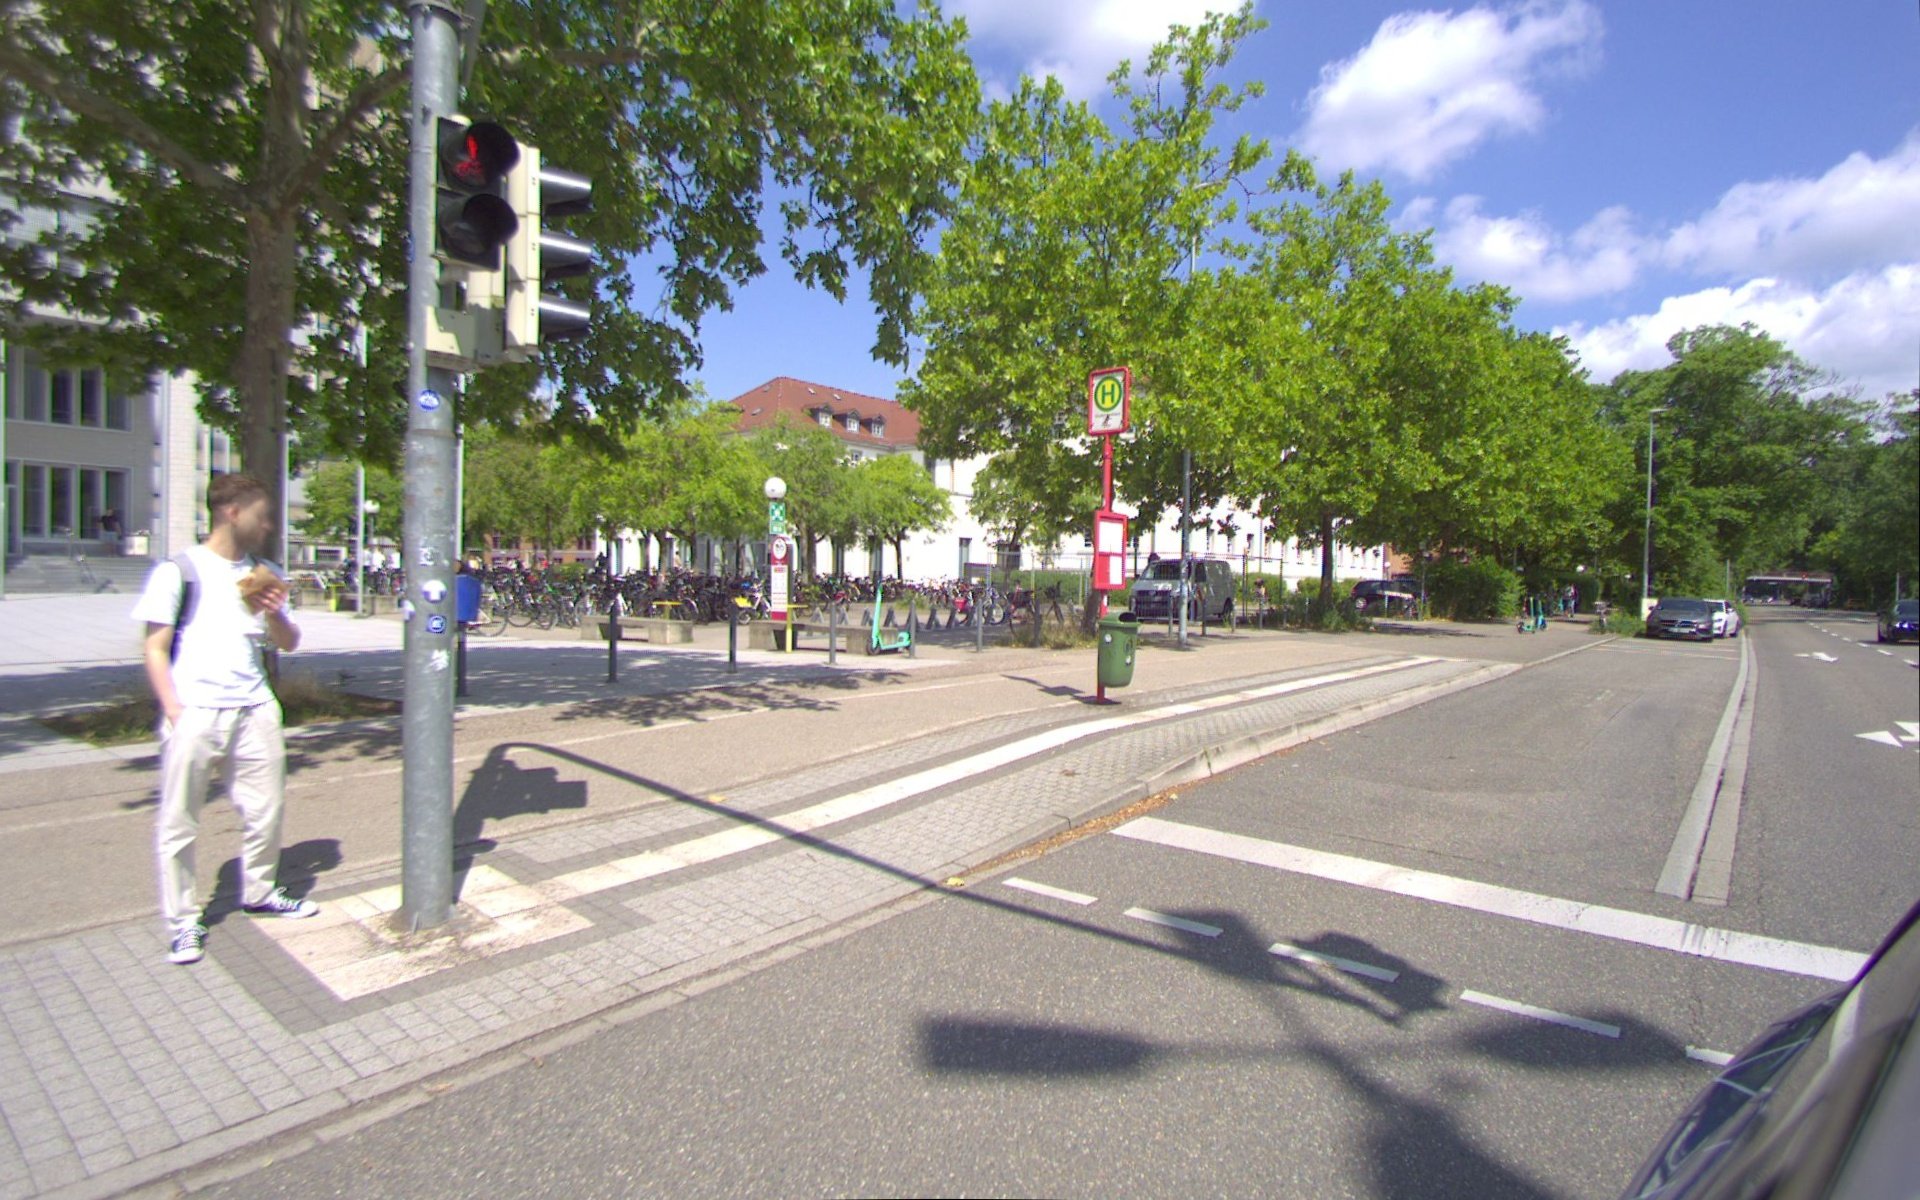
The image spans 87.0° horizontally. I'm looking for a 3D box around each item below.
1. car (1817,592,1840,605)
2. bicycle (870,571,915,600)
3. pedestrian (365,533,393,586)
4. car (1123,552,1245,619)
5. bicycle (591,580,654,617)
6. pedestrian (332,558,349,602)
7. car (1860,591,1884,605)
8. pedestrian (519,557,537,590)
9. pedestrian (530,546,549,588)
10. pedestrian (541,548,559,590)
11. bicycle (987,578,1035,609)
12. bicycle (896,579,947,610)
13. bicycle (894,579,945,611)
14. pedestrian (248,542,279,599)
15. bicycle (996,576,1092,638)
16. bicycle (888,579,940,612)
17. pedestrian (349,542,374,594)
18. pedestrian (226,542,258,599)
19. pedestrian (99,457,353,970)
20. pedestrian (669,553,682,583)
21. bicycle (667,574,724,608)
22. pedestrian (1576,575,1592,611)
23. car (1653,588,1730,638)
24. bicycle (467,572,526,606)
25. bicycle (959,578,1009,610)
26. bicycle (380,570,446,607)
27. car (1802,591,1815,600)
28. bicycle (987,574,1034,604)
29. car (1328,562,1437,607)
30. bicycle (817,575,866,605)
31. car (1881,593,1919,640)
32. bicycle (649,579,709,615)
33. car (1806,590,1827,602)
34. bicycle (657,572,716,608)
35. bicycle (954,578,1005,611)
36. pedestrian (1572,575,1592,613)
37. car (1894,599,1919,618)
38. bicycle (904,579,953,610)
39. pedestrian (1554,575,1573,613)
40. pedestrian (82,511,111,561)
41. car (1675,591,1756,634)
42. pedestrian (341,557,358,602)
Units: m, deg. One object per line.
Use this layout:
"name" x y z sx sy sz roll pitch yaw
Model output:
"car" 103.087 -0.209 120.142 1.893 1.530 3.768 0 0 44
"bicycle" -2.762 -0.588 41.287 1.738 1.113 0.602 -1 0 8
"pedestrian" -24.985 -1.724 43.523 0.844 2.257 0.630 -1 0 20
"car" 6.914 -0.446 30.842 1.892 1.888 4.879 1 1 35
"bicycle" -10.336 -0.046 31.021 1.738 1.113 0.602 -1 0 8
"pedestrian" -32.621 -1.049 53.301 0.702 2.257 0.634 -1 0 -33
"car" 104.725 -0.196 116.180 1.893 1.530 3.768 0 0 44
"pedestrian" -23.559 -1.449 55.190 0.623 1.800 0.715 -1 0 8
"pedestrian" -22.885 -1.778 55.083 0.623 2.257 0.715 -1 0 8
"pedestrian" -22.208 -1.668 54.872 0.623 2.257 0.715 -1 0 8
"bicycle" 1.887 -0.249 37.457 1.738 1.113 0.602 -1 0 8
"bicycle" -1.391 -0.199 36.741 1.738 1.113 0.602 -1 0 8
"bicycle" -1.431 -0.178 36.019 1.738 1.113 0.602 -1 0 8
"pedestrian" -22.130 -0.932 32.172 0.621 1.768 0.718 -1 0 -16
"bicycle" 1.735 0.119 20.671 1.996 1.198 0.798 -1 1 -41
"bicycle" -1.598 -0.169 35.181 1.738 1.113 0.602 -1 0 8
"pedestrian" -25.930 -1.379 43.859 0.704 2.257 0.633 -1 0 8
"pedestrian" -22.602 -0.924 31.863 0.621 1.768 0.718 -1 0 -16
"pedestrian" -2.884 0.385 3.990 0.591 1.822 0.604 4 2 30
"pedestrian" -16.431 -1.832 58.404 0.442 1.738 0.500 3 2 34
"bicycle" -8.771 -0.301 33.565 1.738 1.113 0.602 -1 0 8
"pedestrian" 31.526 -0.370 51.139 0.679 1.803 0.782 -1 0 31
"car" 25.026 0.432 34.553 1.854 1.497 4.872 4 2 38
"bicycle" -15.460 -0.365 33.751 1.738 1.113 0.602 -1 0 8
"bicycle" 0.860 -0.211 36.497 1.738 1.113 0.602 -1 0 8
"bicycle" -16.677 -0.352 30.856 1.738 1.113 0.602 -1 0 8
"car" 143.309 -0.758 170.956 1.750 1.530 3.773 -1 0 40
"bicycle" 1.929 -0.421 38.761 1.738 1.113 0.602 -1 0 8
"car" 17.997 -0.634 43.143 3.975 1.805 1.974 0 0 36
"bicycle" -4.533 -0.390 38.744 1.738 1.113 0.602 -1 0 8
"car" 31.072 0.518 32.563 4.120 1.433 1.827 0 1 -43
"bicycle" -8.940 -0.102 32.217 1.738 1.113 0.602 -1 0 8
"car" 115.574 -0.502 136.588 1.893 1.530 3.768 0 0 44
"bicycle" -8.889 -0.321 32.923 1.738 1.113 0.602 -1 0 8
"bicycle" 0.681 -0.200 35.465 1.738 1.113 0.602 -1 0 8
"pedestrian" 30.184 -0.279 49.124 0.676 1.803 0.786 -1 0 20
"car" 80.621 0.740 85.871 1.893 1.530 3.768 0 0 44
"bicycle" -1.164 -0.193 37.420 1.738 1.113 0.602 -1 0 8
"pedestrian" 29.498 -0.298 49.464 0.676 1.803 0.785 -1 0 22
"pedestrian" -32.432 -2.395 38.004 0.713 1.820 0.709 -1 0 41
"car" 28.636 0.456 38.307 4.861 1.468 1.740 1 2 -45
"pedestrian" -31.225 -1.053 51.767 0.702 2.257 0.634 -1 0 -33
